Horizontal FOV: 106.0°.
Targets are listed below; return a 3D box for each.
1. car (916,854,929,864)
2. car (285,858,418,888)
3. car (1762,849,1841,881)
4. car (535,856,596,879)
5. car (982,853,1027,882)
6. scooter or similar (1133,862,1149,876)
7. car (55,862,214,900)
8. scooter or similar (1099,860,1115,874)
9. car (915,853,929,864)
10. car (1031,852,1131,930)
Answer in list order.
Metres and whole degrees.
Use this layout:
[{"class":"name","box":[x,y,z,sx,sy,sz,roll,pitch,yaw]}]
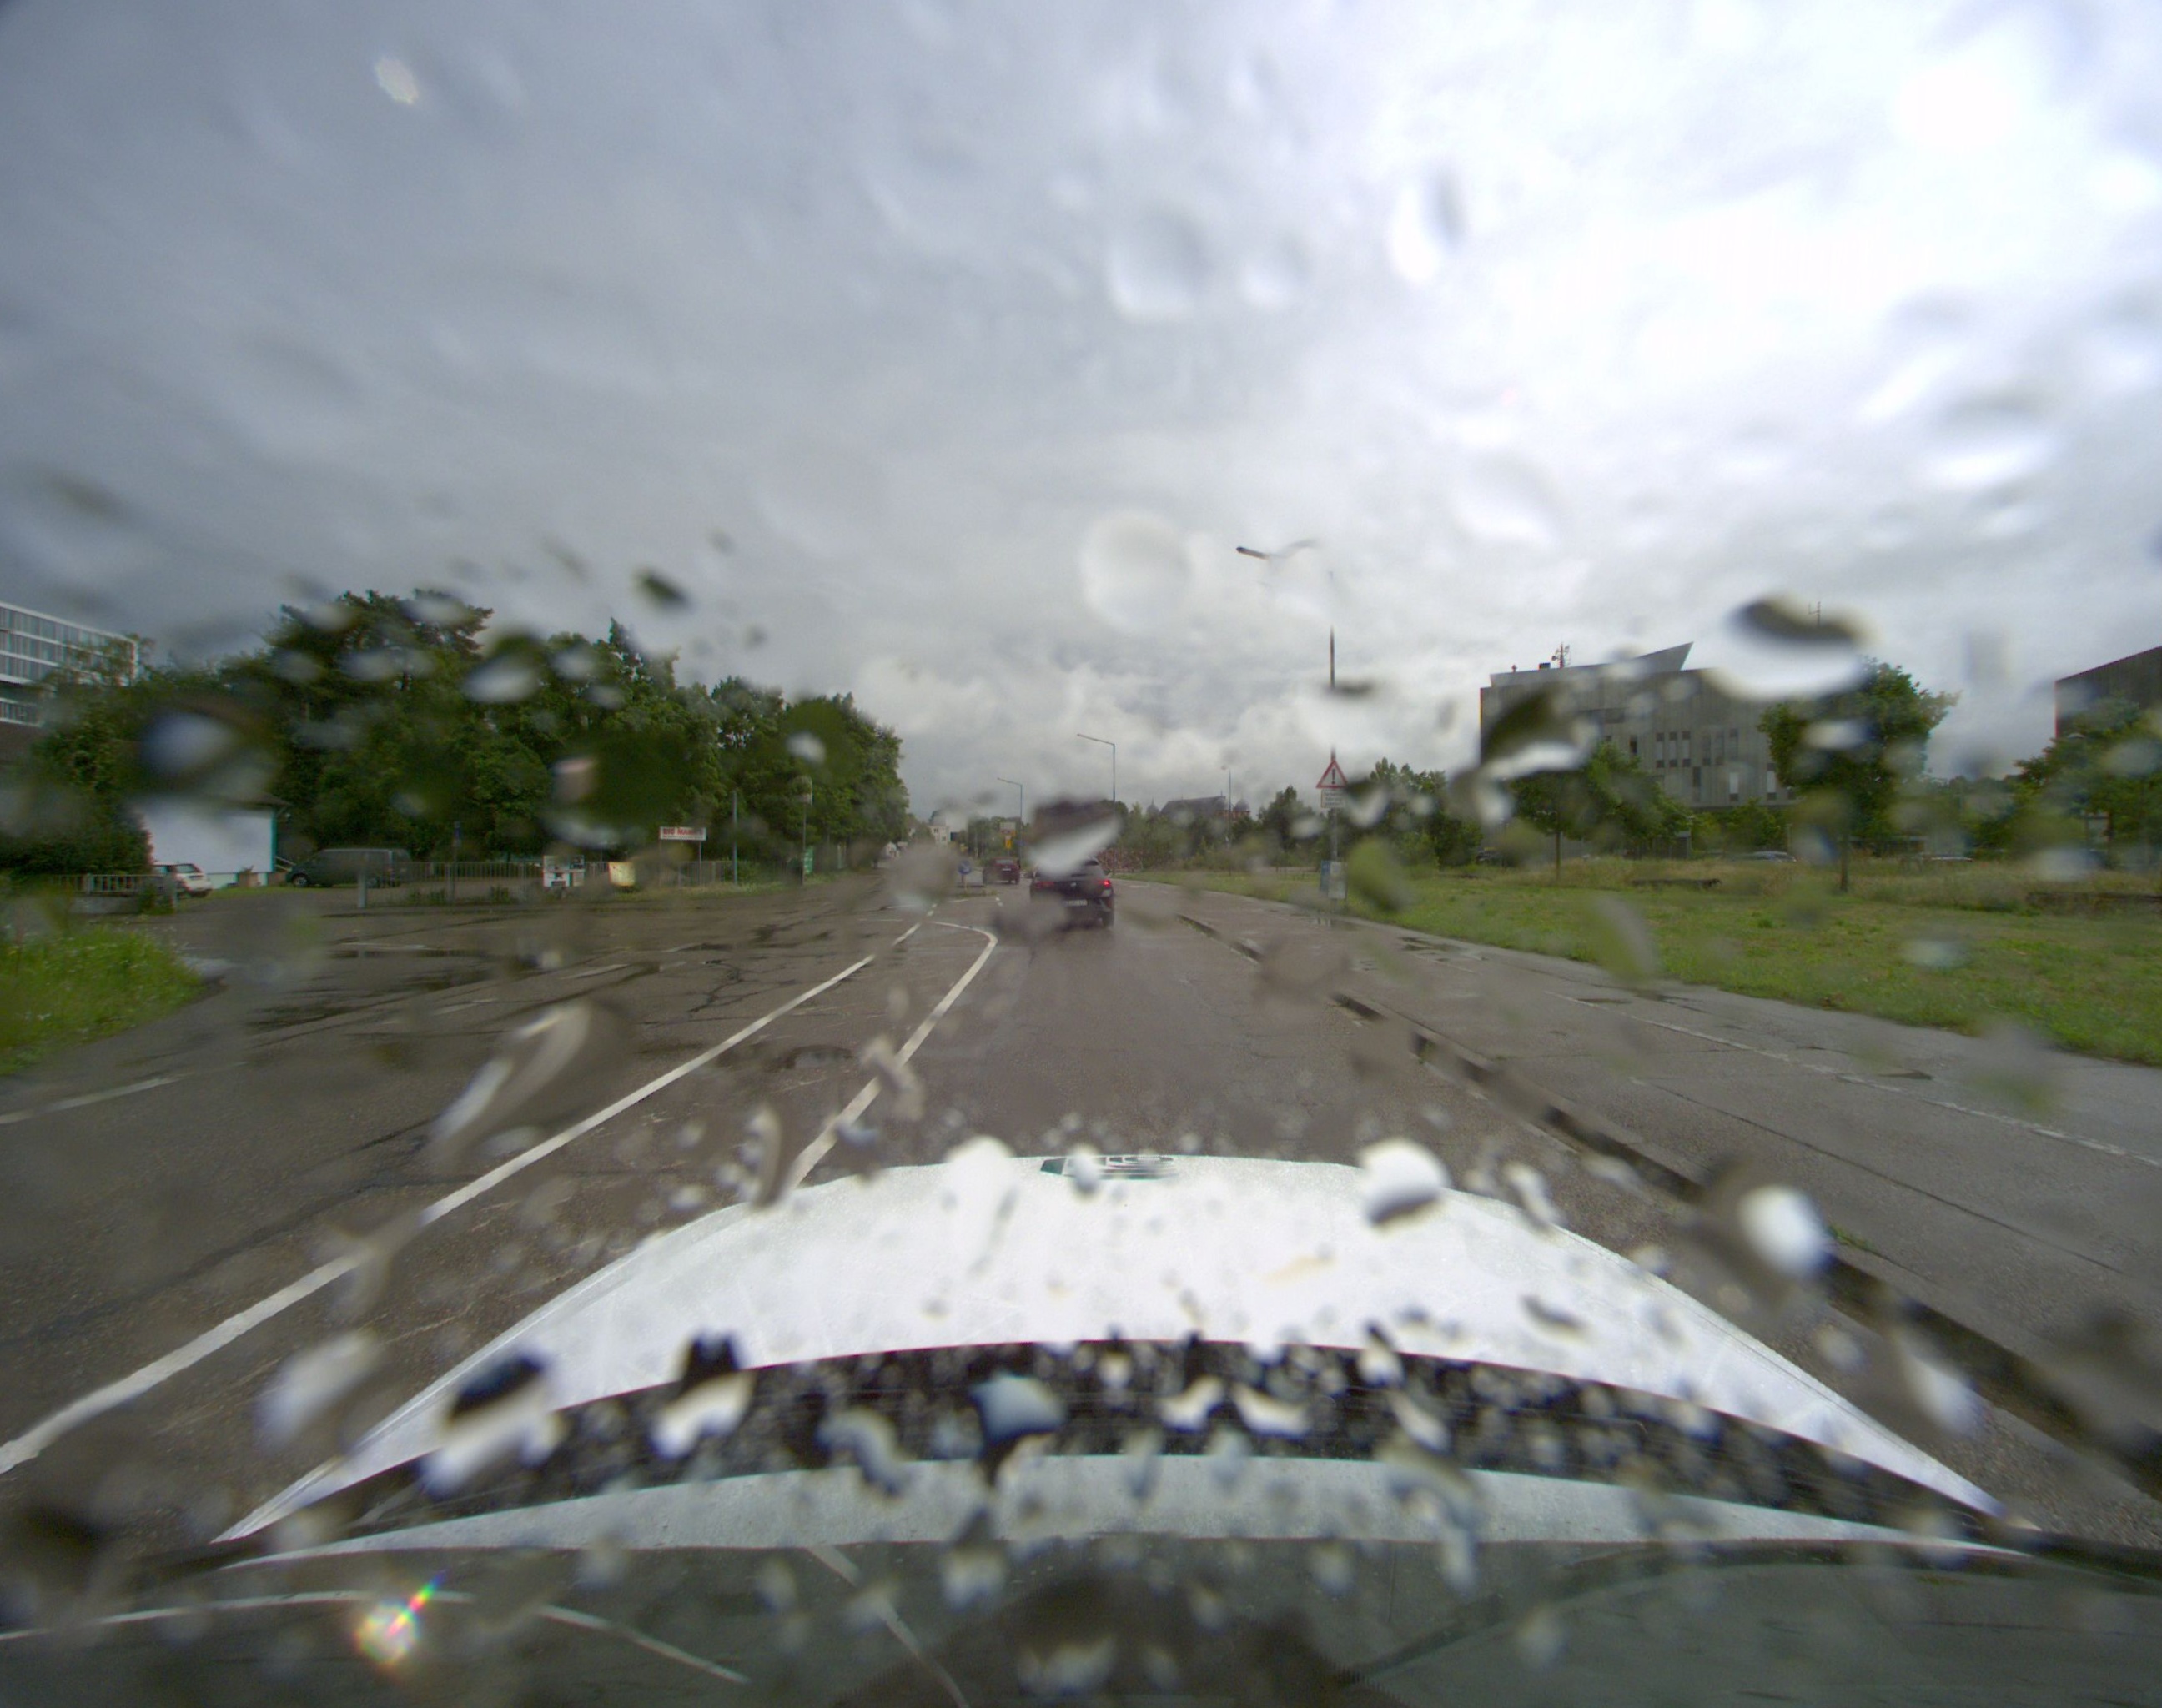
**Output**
[{"class":"car","box":[-26.818,0.864,137.686,1.999,1.702,3.997,0,0,-14]},{"class":"car","box":[-36.450,0.932,40.823,4.530,1.418,1.993,-1,0,-11]},{"class":"car","box":[46.137,0.717,52.242,3.661,2.014,2.012,-1,-1,38]},{"class":"car","box":[-33.460,0.865,52.977,1.996,1.418,4.523,-1,0,-14]},{"class":"car","box":[-4.246,0.758,44.533,1.844,1.442,3.981,-2,-1,-14]},{"class":"scooter or similar","box":[5.323,1.296,72.006,1.268,1.187,0.506,3,1,27]},{"class":"car","box":[-35.803,0.999,30.893,3.909,1.316,1.384,0,0,-10]},{"class":"scooter or similar","box":[2.284,1.131,72.542,1.268,1.187,0.506,3,1,27]},{"class":"car","box":[-24.714,0.688,126.549,1.844,1.641,3.997,0,0,-14]},{"class":"car","box":[-0.095,0.755,18.612,1.982,1.520,3.995,-2,0,-3]}]
